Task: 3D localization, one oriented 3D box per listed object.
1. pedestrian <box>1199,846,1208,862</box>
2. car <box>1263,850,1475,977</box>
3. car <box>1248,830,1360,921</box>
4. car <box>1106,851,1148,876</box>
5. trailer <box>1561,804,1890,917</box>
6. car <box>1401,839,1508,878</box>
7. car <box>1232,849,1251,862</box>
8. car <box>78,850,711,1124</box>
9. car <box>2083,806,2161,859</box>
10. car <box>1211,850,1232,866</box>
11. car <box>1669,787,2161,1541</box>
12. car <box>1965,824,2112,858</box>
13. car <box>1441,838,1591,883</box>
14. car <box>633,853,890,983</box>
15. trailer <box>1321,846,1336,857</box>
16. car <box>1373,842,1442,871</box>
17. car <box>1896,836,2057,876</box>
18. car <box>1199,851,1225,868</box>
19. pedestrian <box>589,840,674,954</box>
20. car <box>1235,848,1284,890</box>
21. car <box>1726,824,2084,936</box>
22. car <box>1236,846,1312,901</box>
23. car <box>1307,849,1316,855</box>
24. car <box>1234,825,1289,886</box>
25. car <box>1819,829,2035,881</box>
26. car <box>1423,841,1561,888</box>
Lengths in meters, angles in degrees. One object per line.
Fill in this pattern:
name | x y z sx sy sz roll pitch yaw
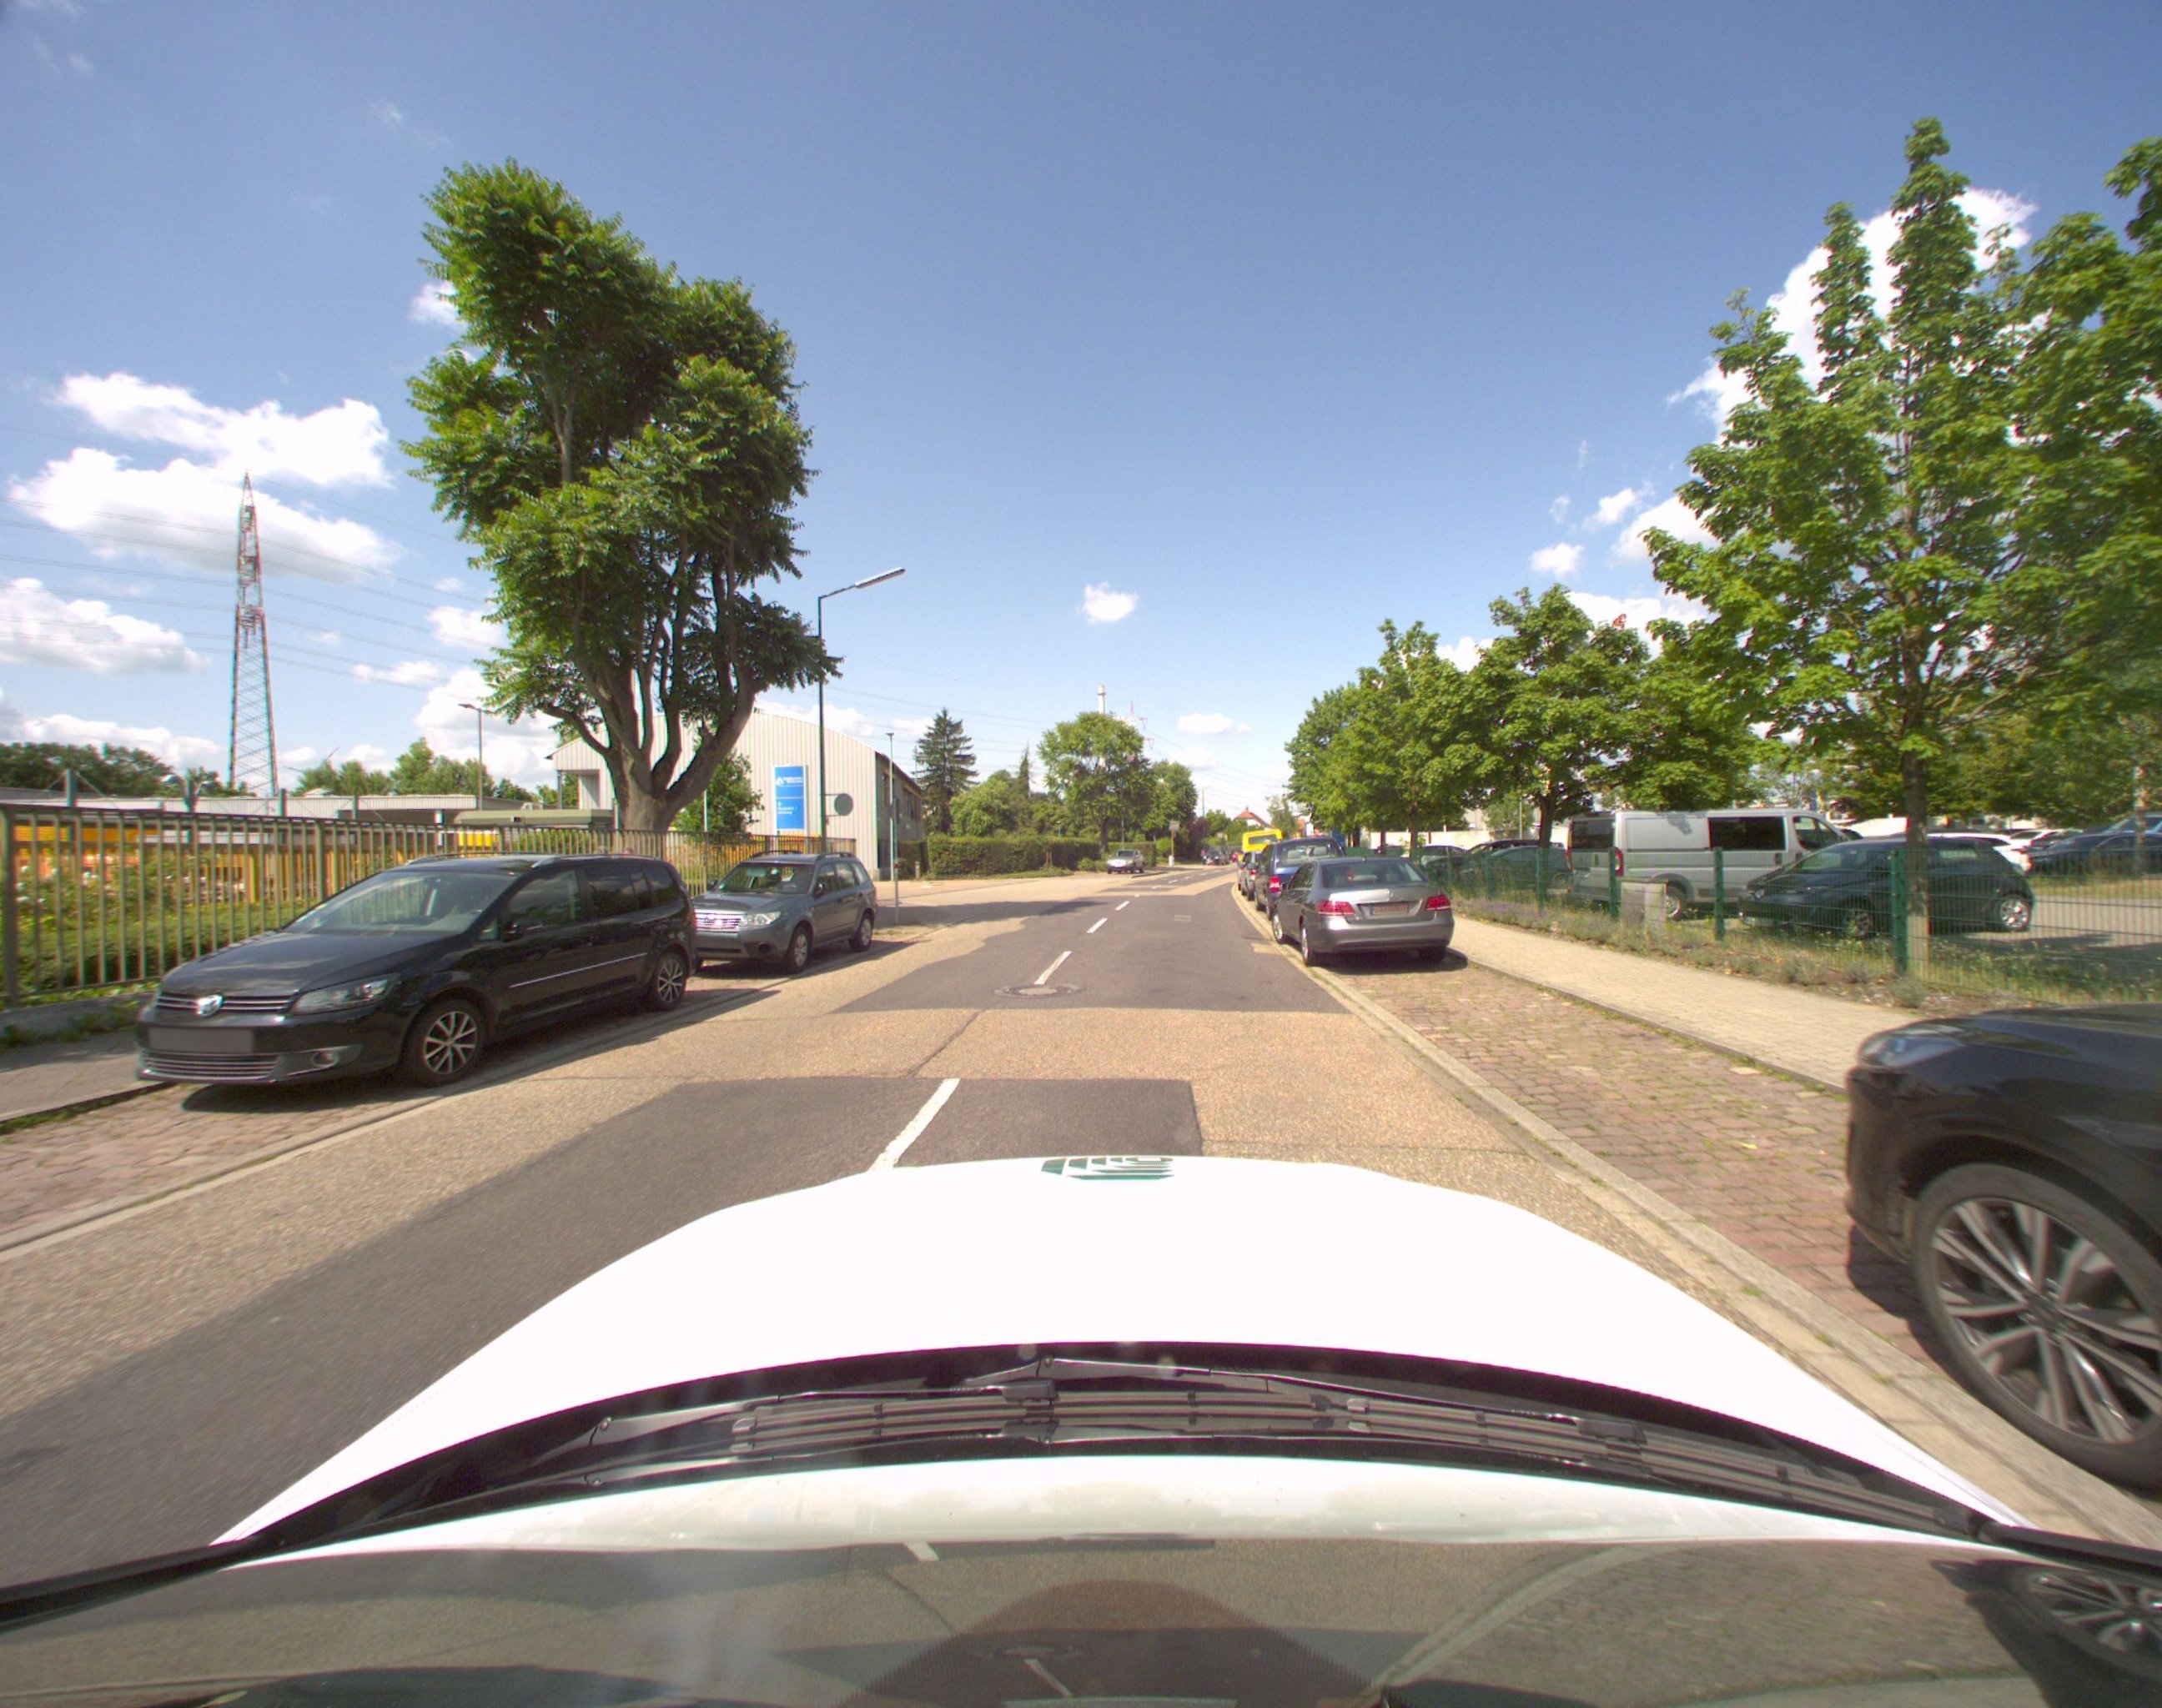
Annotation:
pedestrian | 13.347 0.005 88.838 0.702 1.801 0.920 -1 -1 20
car | 4.044 0.729 12.364 1.832 1.460 4.876 -3 0 5
car | 5.093 0.453 19.298 1.839 1.765 5.089 -3 -1 8
car | 3.089 0.590 53.489 1.744 1.574 4.496 0 0 16
trailer | 13.128 0.145 16.909 5.022 2.082 2.065 -1 0 5
car | 17.696 0.221 38.749 4.292 1.621 1.767 -3 -1 8
car | 19.207 0.205 97.287 1.652 1.467 3.763 0 0 21
car | -5.264 0.818 7.195 1.767 1.682 4.236 0 0 5
car | 44.294 -0.832 32.728 4.895 2.104 2.117 0 0 10
car | 14.903 0.416 86.110 1.637 1.645 3.289 2 1 18
car | 3.238 0.638 0.925 1.853 1.682 4.714 -4 0 3
car | 45.406 -0.617 38.731 4.241 1.557 2.006 0 0 10
car | 14.941 0.215 28.167 4.302 1.495 1.632 0 0 7
car | -4.617 0.809 12.686 1.790 1.651 4.696 0 0 5
trailer | 35.211 -0.388 115.949 1.736 1.417 4.568 -4 -2 15
car | 19.951 0.151 49.912 3.842 1.637 1.919 -2 -1 20
car | 32.841 0.058 29.951 3.728 1.413 1.757 0 2 8
car | 13.066 0.520 80.946 1.830 1.508 4.020 2 1 20
pedestrian | -7.214 0.669 13.108 0.823 1.761 0.848 0 0 11
car | 6.932 0.552 31.595 1.674 1.495 3.962 -3 -1 12
car | 13.292 0.407 13.360 3.967 1.636 1.696 -1 0 5
car | 6.002 0.560 25.768 1.822 1.492 4.666 -3 0 7
car | 55.709 -0.446 196.870 1.781 1.397 4.525 0 0 21
car | 8.400 0.080 37.513 2.141 2.465 6.665 -3 -1 14
car | 24.884 0.046 24.132 4.128 1.437 1.737 -1 0 16
car | 15.362 0.376 30.652 4.302 1.671 1.861 0 0 7
